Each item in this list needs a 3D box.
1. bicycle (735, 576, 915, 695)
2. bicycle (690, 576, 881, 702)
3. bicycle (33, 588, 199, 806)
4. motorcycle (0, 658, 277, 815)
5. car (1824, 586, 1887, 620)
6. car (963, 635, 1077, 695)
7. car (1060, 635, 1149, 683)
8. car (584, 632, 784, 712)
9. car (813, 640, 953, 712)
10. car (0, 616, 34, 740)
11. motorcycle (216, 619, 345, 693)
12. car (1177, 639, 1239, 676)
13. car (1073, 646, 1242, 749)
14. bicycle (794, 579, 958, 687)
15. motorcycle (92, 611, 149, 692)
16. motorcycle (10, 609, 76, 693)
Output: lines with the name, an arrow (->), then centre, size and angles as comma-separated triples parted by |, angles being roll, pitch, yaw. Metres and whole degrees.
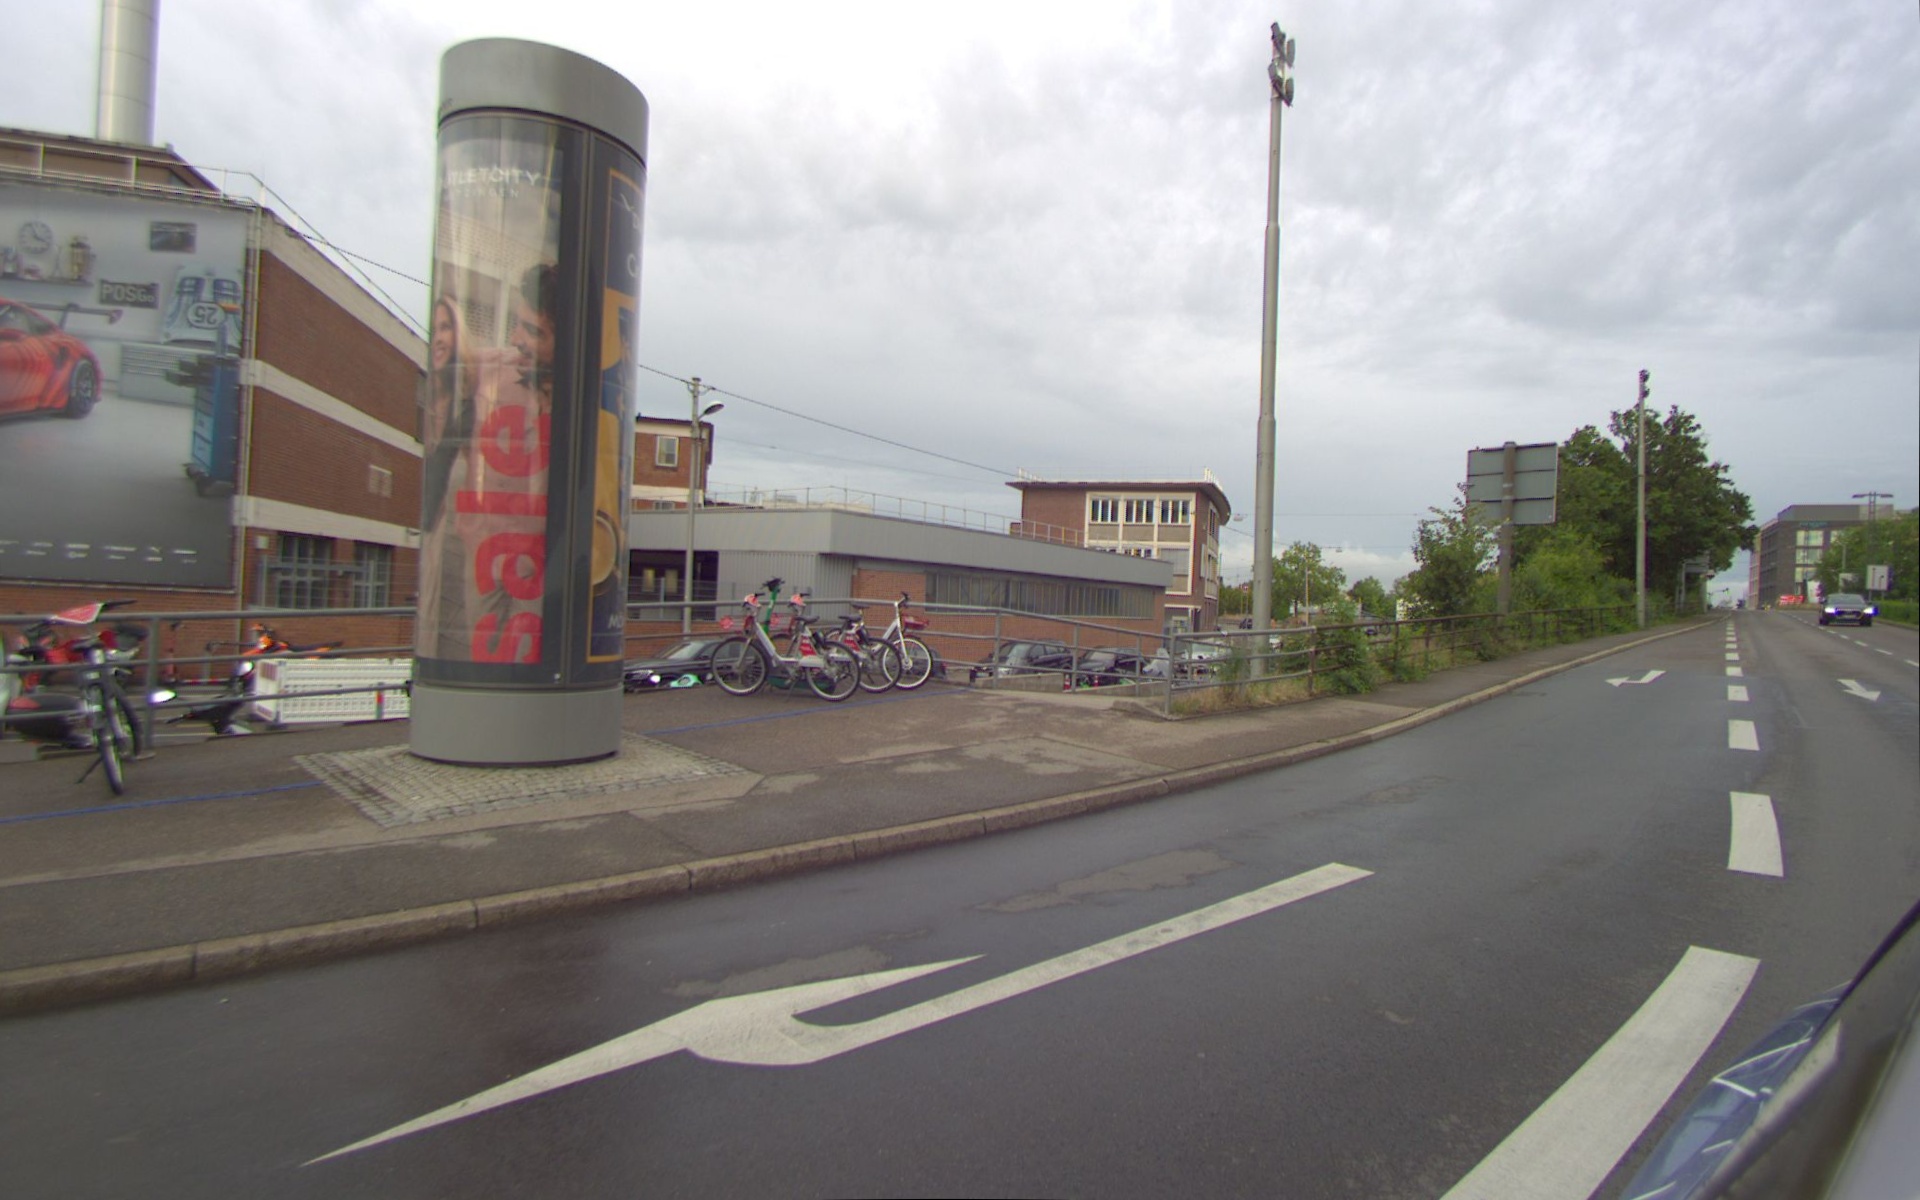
bicycle -> -1.514, 0.376, 11.434 | 1.901, 1.239, 0.598 | 2, 1, 9
bicycle -> -1.851, 0.391, 10.802 | 1.902, 1.239, 0.597 | 2, 1, 11
bicycle -> -5.508, 0.545, 6.567 | 1.799, 1.176, 0.583 | 3, 2, 42
motorcycle -> -6.486, 1.007, 7.951 | 0.696, 1.002, 1.726 | 2, 0, 39
car -> 44.057, 0.120, 49.860 | 1.831, 1.603, 4.234 | 2, 1, 36
car -> 2.058, 2.081, 33.512 | 1.629, 1.652, 4.369 | 1, 1, 37
car -> 5.499, 2.191, 38.330 | 1.694, 1.574, 3.804 | 1, 1, 37
car -> -6.170, 1.588, 23.066 | 1.694, 1.630, 4.203 | 0, -3, 38
car -> -2.065, 2.029, 27.986 | 1.694, 1.648, 3.877 | 1, 1, 38
car -> -14.562, 1.039, 14.477 | 1.663, 1.500, 3.558 | 4, -1, -39
motorcycle -> -13.584, 1.122, 20.293 | 1.943, 1.325, 0.932 | 3, 1, -23
car -> 12.232, 2.788, 49.850 | 1.693, 1.574, 3.808 | 1, 1, 35
car -> 3.916, 1.795, 19.642 | 1.694, 1.574, 3.804 | 1, 1, 37
bicycle -> -1.029, 0.363, 12.230 | 1.911, 1.192, 0.594 | 2, 1, 24
motorcycle -> -15.823, 0.948, 19.096 | 0.562, 1.325, 1.873 | 3, 2, -33
motorcycle -> -16.864, 0.911, 18.647 | 0.675, 1.325, 2.023 | 3, 2, -38
